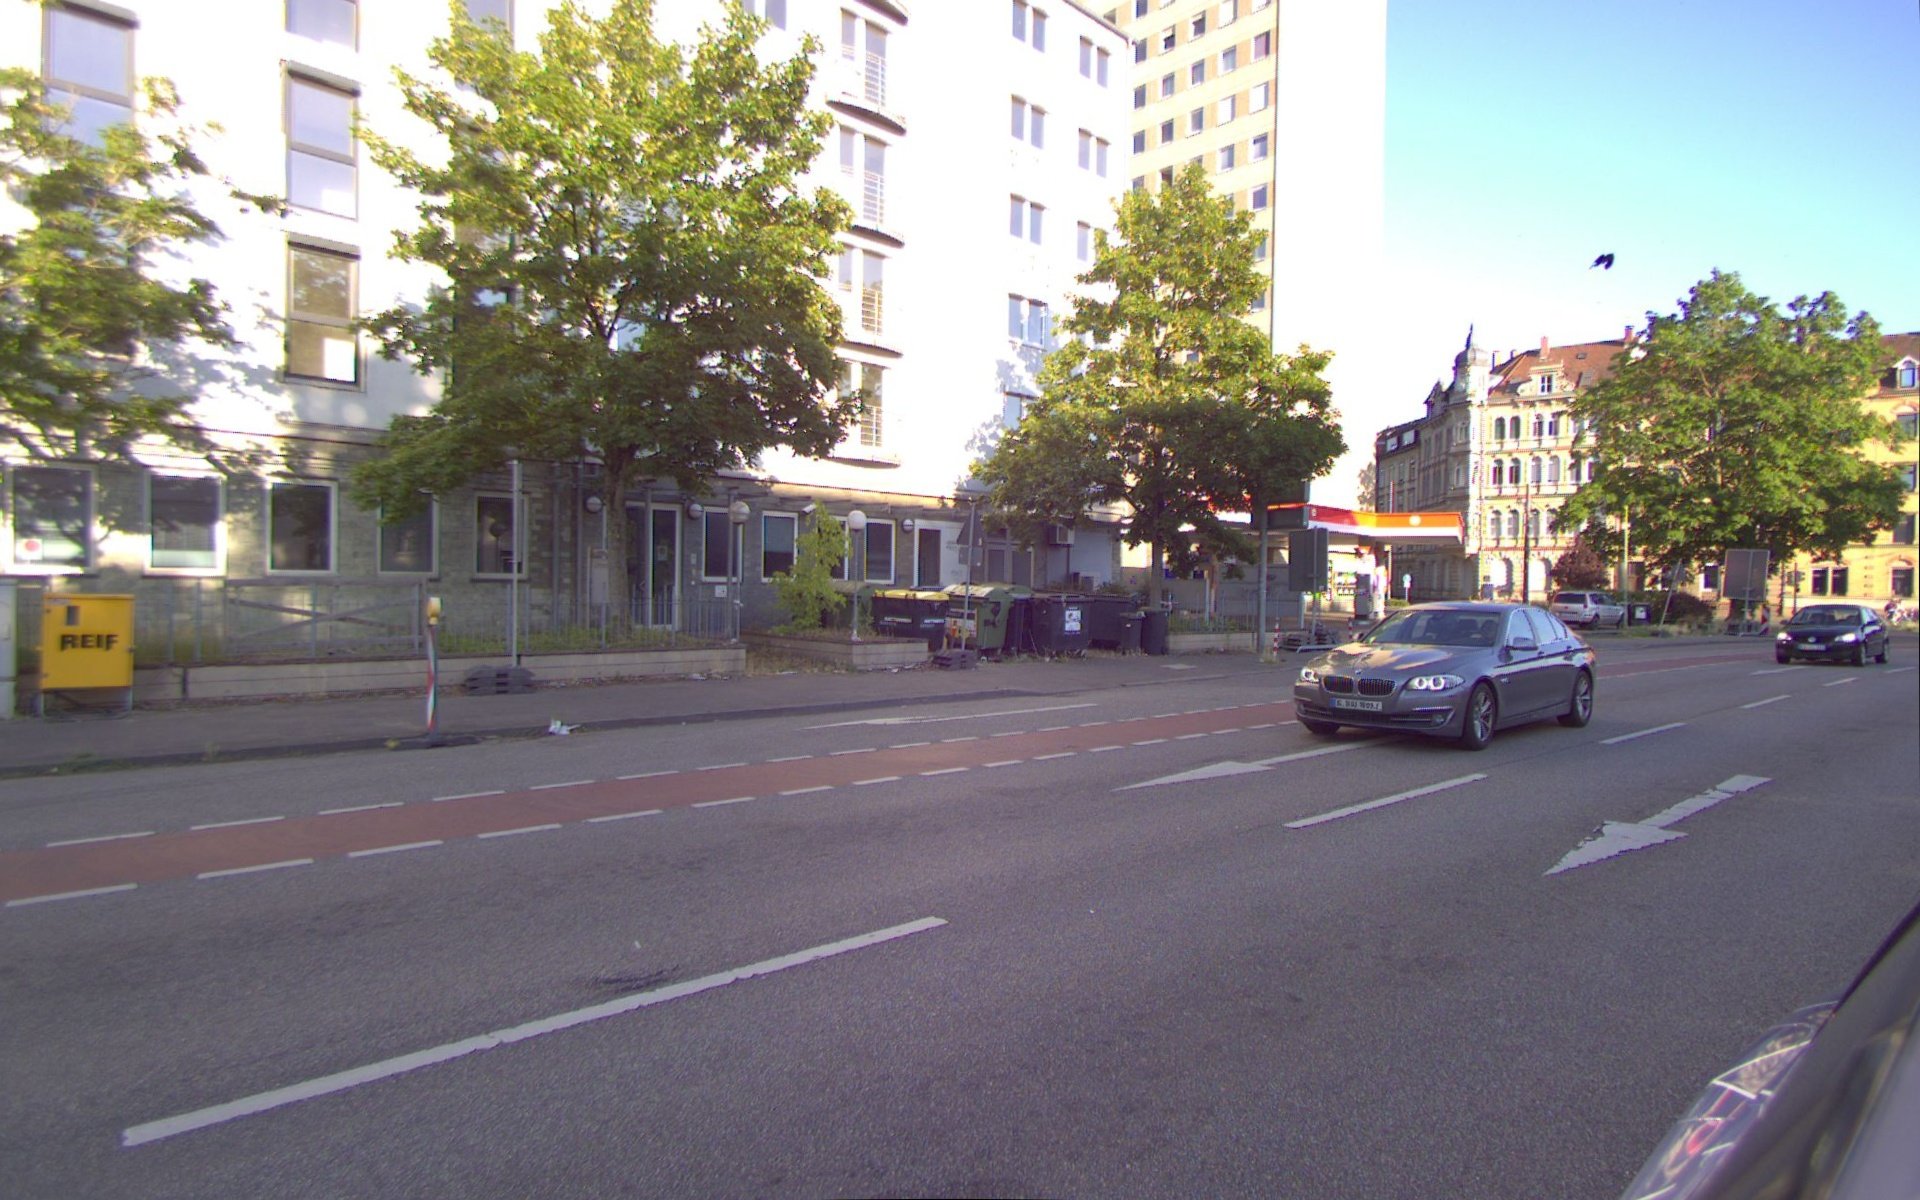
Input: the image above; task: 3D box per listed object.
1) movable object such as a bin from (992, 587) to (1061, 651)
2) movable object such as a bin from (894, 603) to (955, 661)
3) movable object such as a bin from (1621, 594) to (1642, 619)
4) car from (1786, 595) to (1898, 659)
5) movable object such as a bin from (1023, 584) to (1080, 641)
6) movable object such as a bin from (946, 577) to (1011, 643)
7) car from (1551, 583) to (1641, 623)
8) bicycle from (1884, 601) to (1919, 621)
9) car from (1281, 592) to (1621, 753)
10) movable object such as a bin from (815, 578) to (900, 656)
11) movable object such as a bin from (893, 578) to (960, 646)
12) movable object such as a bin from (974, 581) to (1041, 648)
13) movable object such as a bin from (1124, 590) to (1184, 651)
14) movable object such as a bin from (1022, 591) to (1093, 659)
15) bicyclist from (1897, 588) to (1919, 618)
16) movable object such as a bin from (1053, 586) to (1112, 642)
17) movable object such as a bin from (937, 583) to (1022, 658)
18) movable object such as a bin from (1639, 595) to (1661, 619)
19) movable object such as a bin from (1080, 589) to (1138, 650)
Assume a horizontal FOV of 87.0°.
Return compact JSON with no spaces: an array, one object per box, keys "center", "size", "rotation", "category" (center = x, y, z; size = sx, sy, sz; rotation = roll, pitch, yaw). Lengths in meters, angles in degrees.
[{"center":[1.444,0.390,21.959],"size":[1.143,1.345,0.954],"rotation":[0,1,-44],"category":"movable object such as a bin"},{"center":[-0.674,0.596,19.368],"size":[0.851,1.058,0.806],"rotation":[2,1,45],"category":"movable object such as a bin"},{"center":[28.993,0.281,43.674],"size":[0.675,1.031,0.544],"rotation":[0,1,-36],"category":"movable object such as a bin"},{"center":[21.804,0.606,24.983],"size":[3.804,1.467,1.583],"rotation":[0,0,-41],"category":"car"},{"center":[2.285,0.294,25.242],"size":[1.080,1.345,0.954],"rotation":[0,1,-44],"category":"movable object such as a bin"},{"center":[0.437,0.226,24.082],"size":[1.143,1.517,1.033],"rotation":[0,1,-44],"category":"movable object such as a bin"},{"center":[25.655,0.094,40.796],"size":[3.723,1.535,1.691],"rotation":[-1,2,-34],"category":"car"},{"center":[53.585,0.615,57.244],"size":[1.920,1.072,0.444],"rotation":[2,1,43],"category":"bicycle"},{"center":[5.698,0.651,11.464],"size":[4.585,1.467,1.818],"rotation":[0,0,-41],"category":"car"},{"center":[-2.062,0.311,20.300],"size":[1.088,1.479,1.348],"rotation":[0,1,-45],"category":"movable object such as a bin"},{"center":[-0.780,0.266,23.520],"size":[1.143,1.517,1.033],"rotation":[0,1,-44],"category":"movable object such as a bin"},{"center":[1.085,0.312,23.089],"size":[1.143,1.467,1.033],"rotation":[0,1,-44],"category":"movable object such as a bin"},{"center":[4.424,0.445,23.071],"size":[0.938,1.345,0.954],"rotation":[0,1,-43],"category":"movable object such as a bin"},{"center":[2.022,0.501,20.990],"size":[1.143,1.345,0.954],"rotation":[0,1,-44],"category":"movable object such as a bin"},{"center":[53.764,0.153,57.271],"size":[1.062,1.670,0.721],"rotation":[2,1,43],"category":"bicyclist"},{"center":[2.965,0.323,24.513],"size":[1.080,1.299,0.954],"rotation":[0,1,-44],"category":"movable object such as a bin"},{"center":[0.393,0.387,20.714],"size":[1.088,1.441,1.348],"rotation":[0,1,-45],"category":"movable object such as a bin"},{"center":[29.307,0.296,42.989],"size":[0.675,1.031,0.544],"rotation":[0,1,-36],"category":"movable object such as a bin"},{"center":[3.463,0.433,23.533],"size":[0.938,1.345,0.954],"rotation":[0,1,-43],"category":"movable object such as a bin"}]
